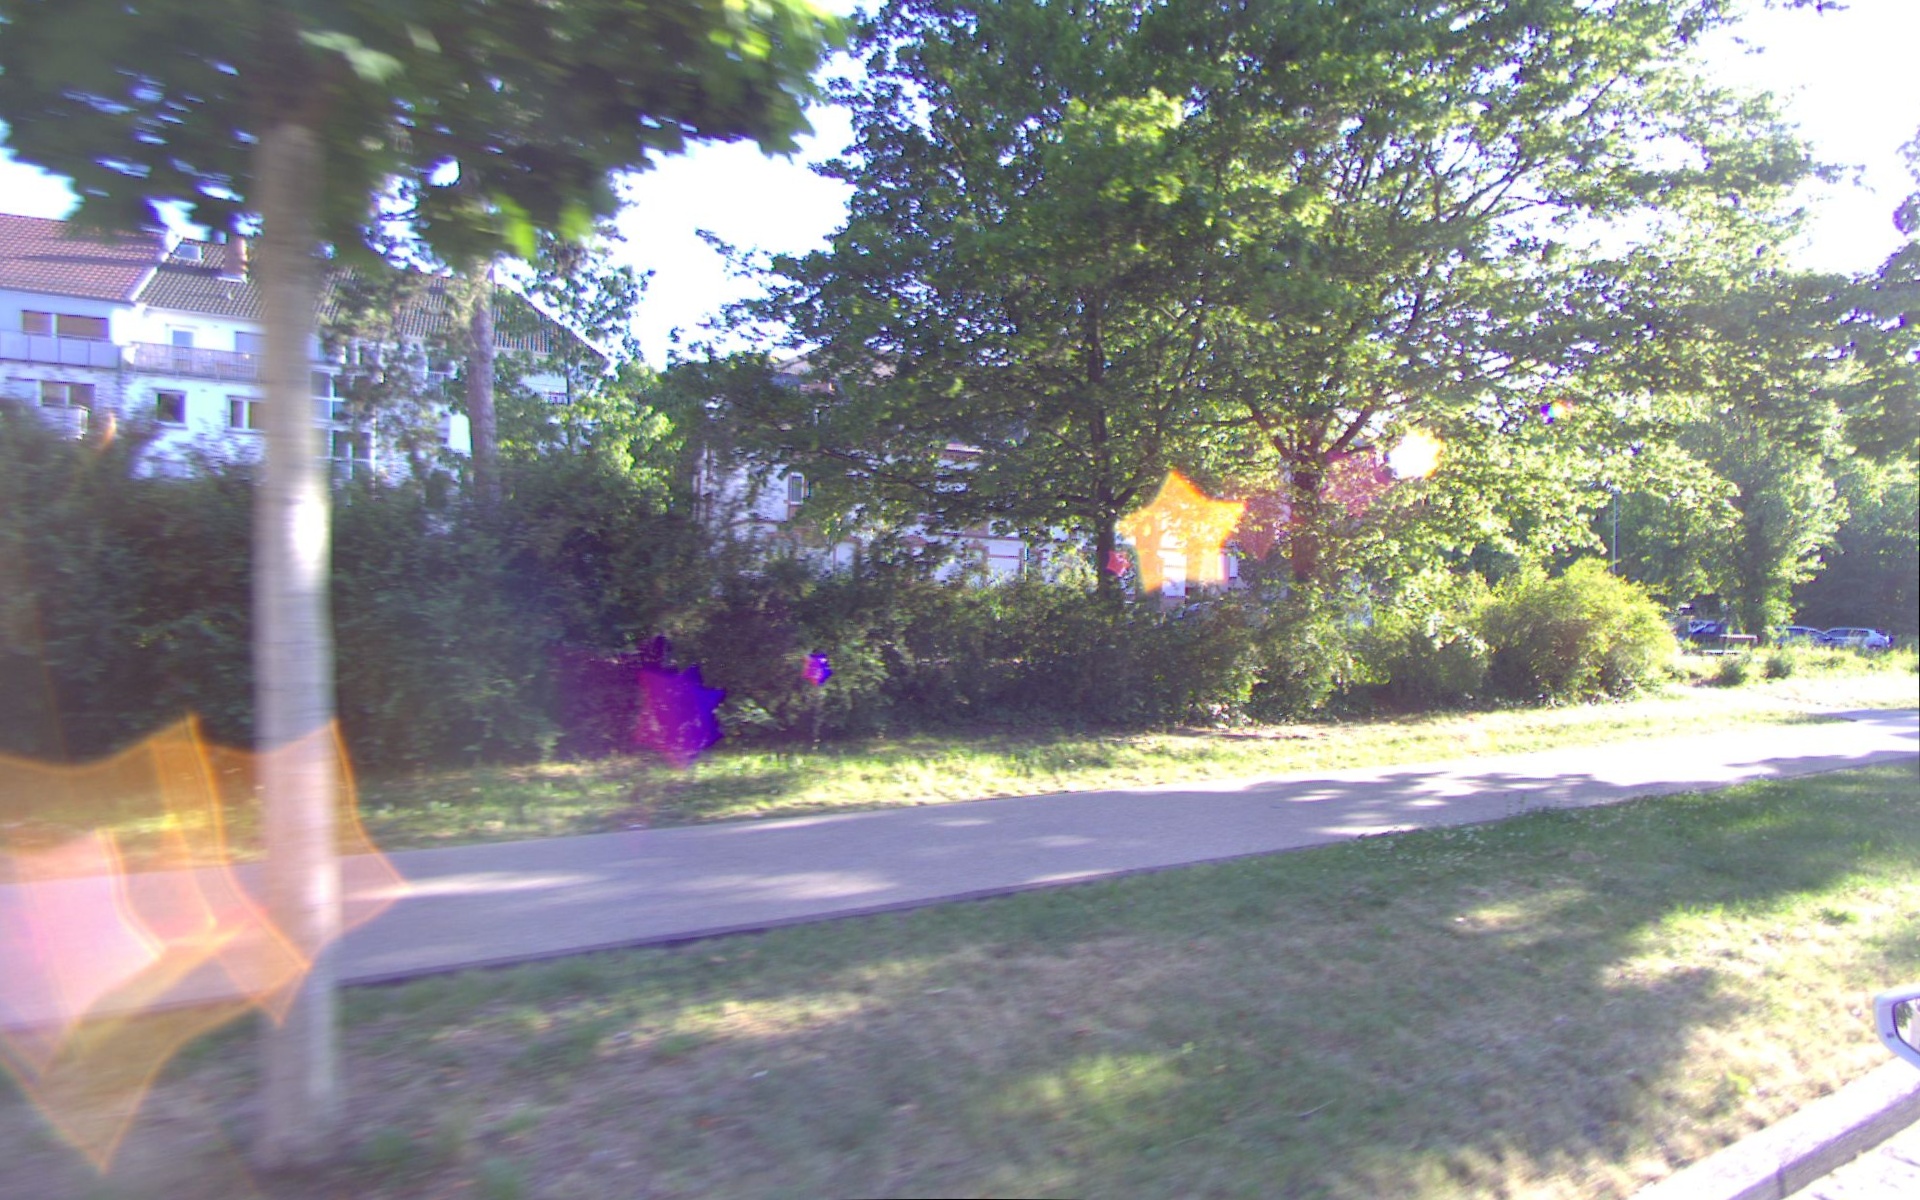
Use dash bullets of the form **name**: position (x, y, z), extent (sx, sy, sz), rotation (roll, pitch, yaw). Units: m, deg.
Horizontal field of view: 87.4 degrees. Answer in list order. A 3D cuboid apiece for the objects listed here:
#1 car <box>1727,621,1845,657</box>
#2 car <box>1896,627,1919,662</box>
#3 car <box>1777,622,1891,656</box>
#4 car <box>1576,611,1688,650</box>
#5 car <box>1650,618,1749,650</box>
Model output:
- **car**: position (37.915, 1.768, 46.240), extent (3.930, 1.439, 1.767), rotation (1, 0, 32)
- **car**: position (42.914, 1.981, 42.917), extent (3.928, 1.439, 1.768), rotation (2, 0, 30)
- **car**: position (43.222, 1.905, 49.803), extent (3.928, 1.439, 1.768), rotation (2, 0, 30)
- **car**: position (32.936, 1.456, 49.296), extent (4.470, 1.708, 1.766), rotation (2, 0, 36)
- **car**: position (38.440, 1.739, 52.327), extent (3.928, 1.439, 1.769), rotation (2, 0, 30)
